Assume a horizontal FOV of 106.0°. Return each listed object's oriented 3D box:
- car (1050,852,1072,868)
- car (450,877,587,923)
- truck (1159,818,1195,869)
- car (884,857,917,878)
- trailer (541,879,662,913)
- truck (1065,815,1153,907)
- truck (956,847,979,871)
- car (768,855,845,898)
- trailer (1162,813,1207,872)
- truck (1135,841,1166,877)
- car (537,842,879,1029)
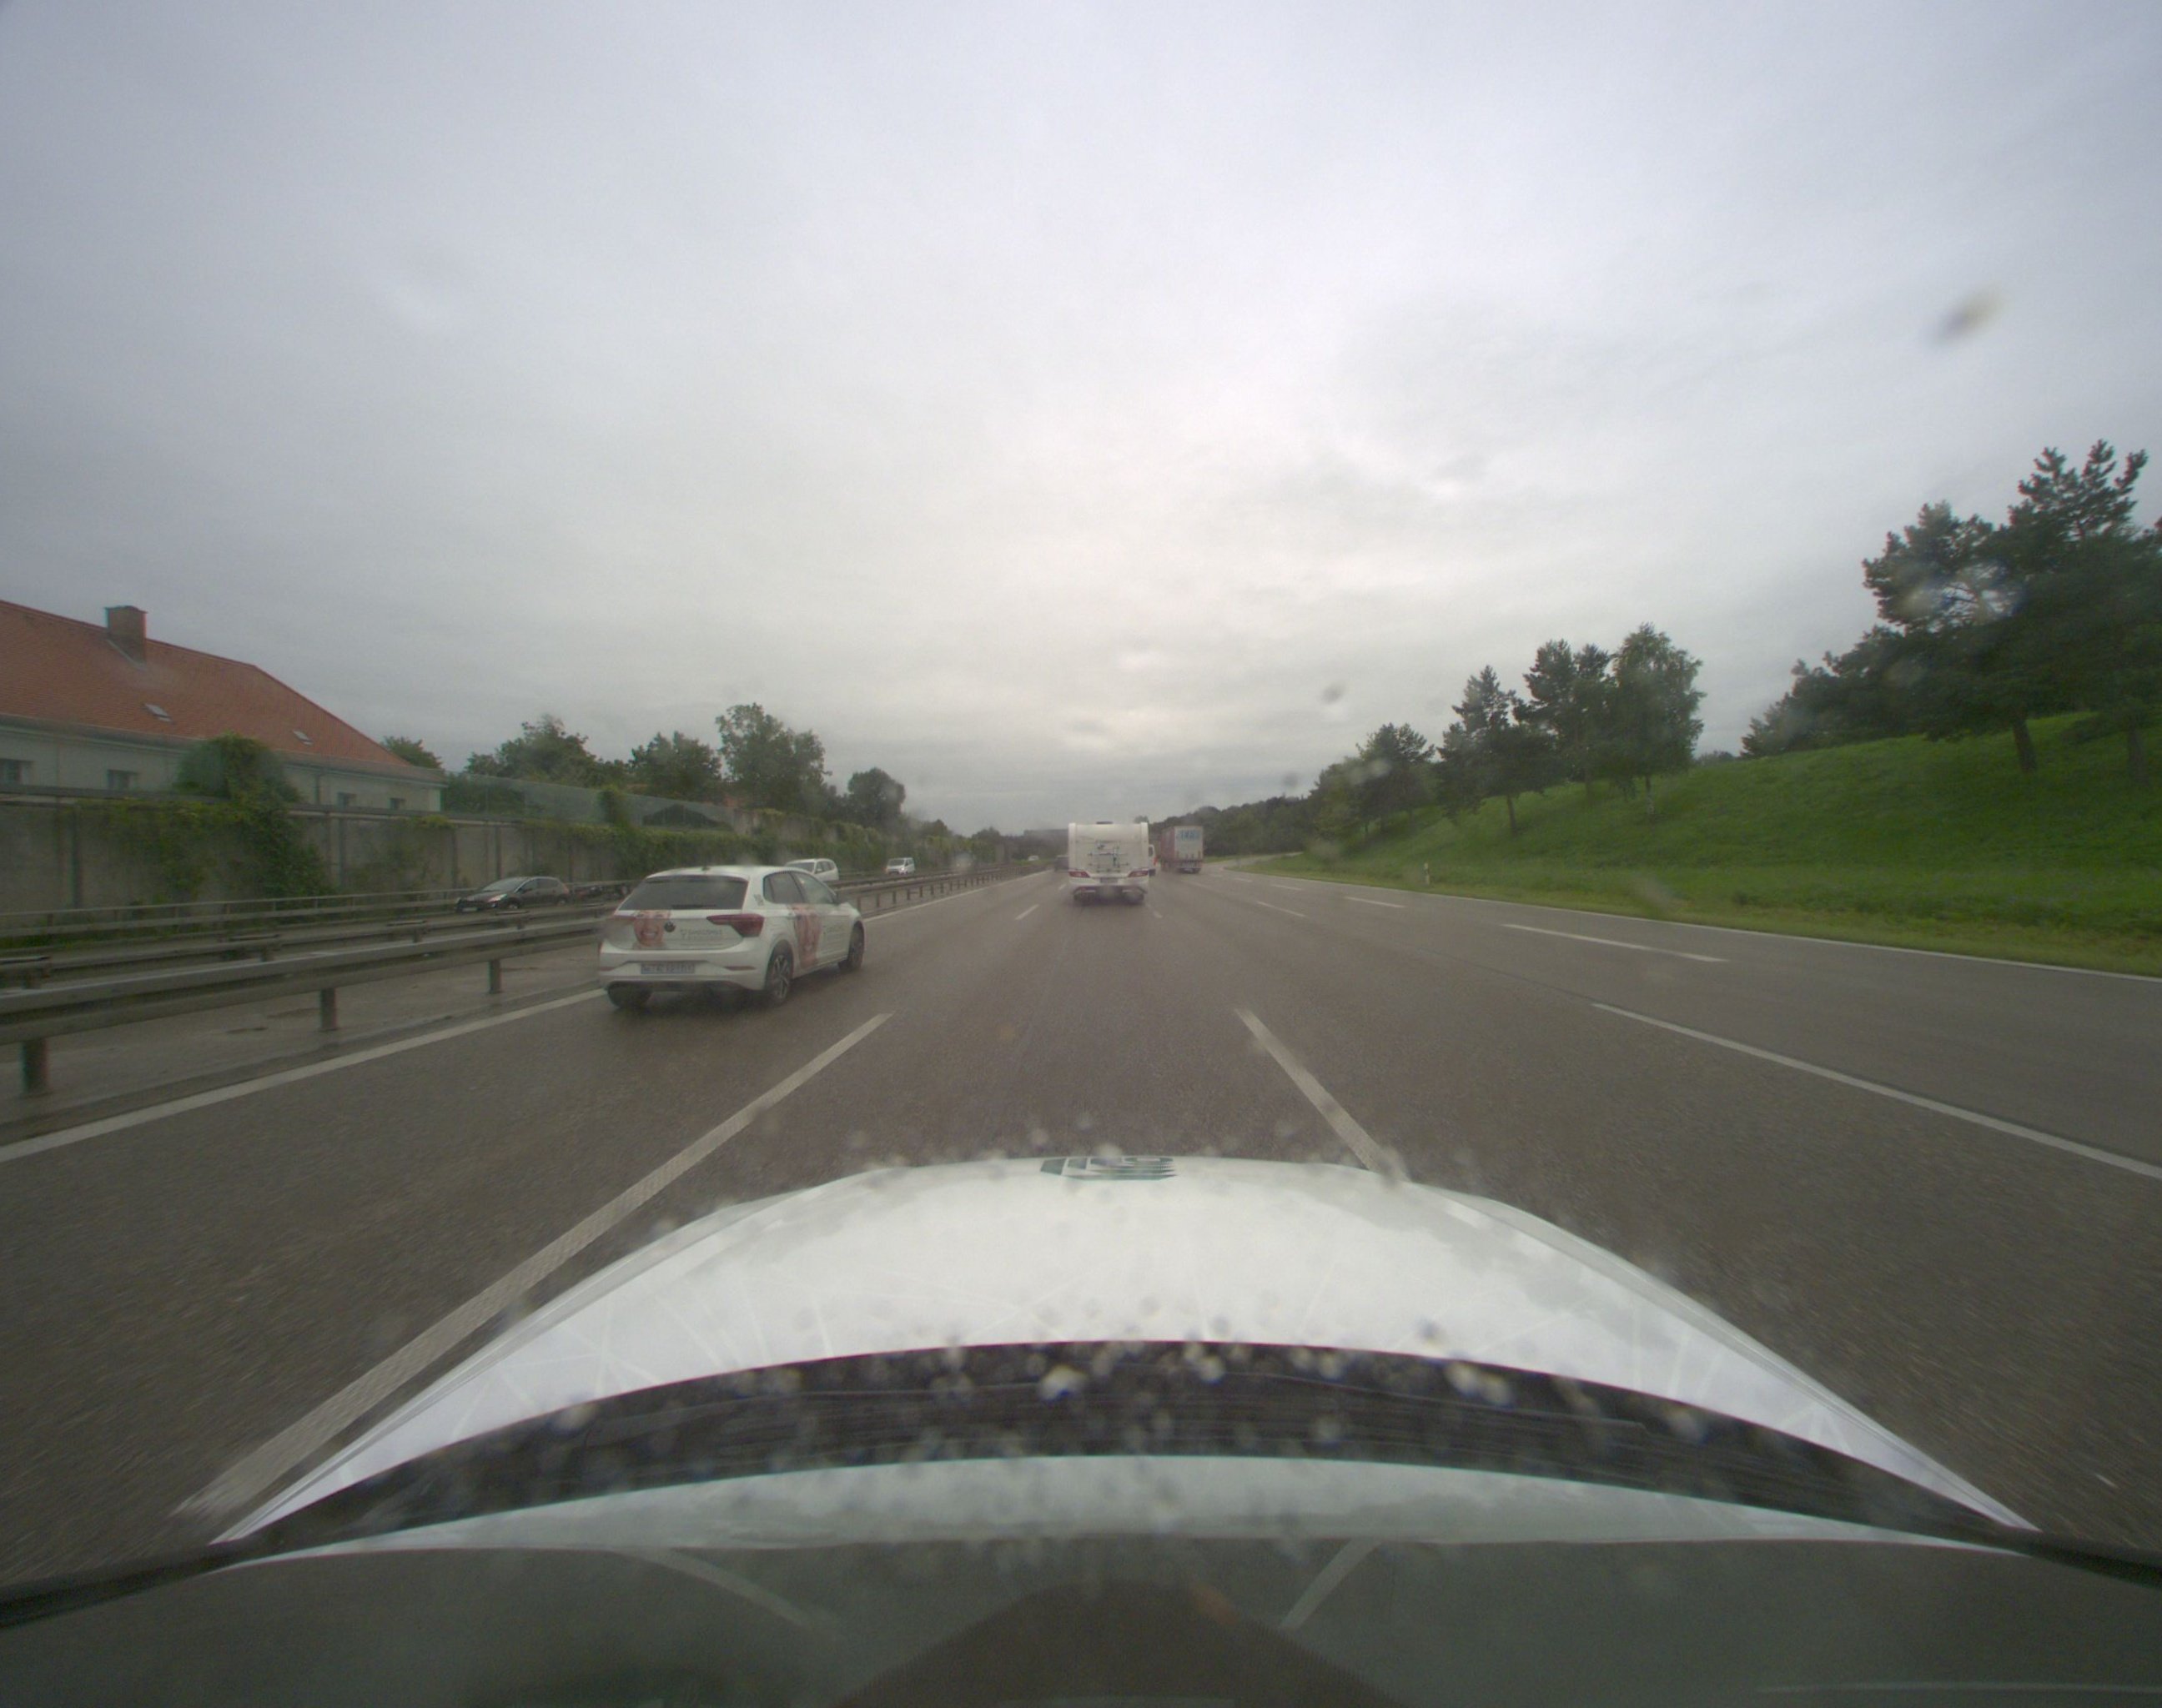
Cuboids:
[{"bbox_3d":[-1.940,0.602,80.915,1.986,1.600,5.124,0,0,1],"label":"car"},{"bbox_3d":[-21.413,1.698,31.290,1.948,1.552,4.524,0,0,3],"label":"car"},{"bbox_3d":[9.501,-1.001,80.852,3.037,4.839,5.852,0,-1,2],"label":"truck"},{"bbox_3d":[-17.224,1.269,77.976,1.986,2.014,4.958,0,0,1],"label":"car"},{"bbox_3d":[-21.194,1.821,36.312,2.122,1.267,5.249,0,0,2],"label":"trailer"},{"bbox_3d":[0.889,0.228,26.979,2.652,2.742,5.078,0,0,1],"label":"truck"},{"bbox_3d":[-18.868,0.837,135.796,2.682,3.777,8.337,0,0,0],"label":"truck"},{"bbox_3d":[-11.820,0.930,35.381,1.782,1.751,4.536,0,0,0],"label":"car"},{"bbox_3d":[9.215,-0.941,73.633,3.087,4.922,11.797,0,0,2],"label":"trailer"},{"bbox_3d":[5.446,0.411,64.505,2.046,2.770,5.550,0,0,1],"label":"truck"},{"bbox_3d":[-3.913,0.728,9.602,1.747,1.618,4.665,-2,0,1],"label":"car"}]
